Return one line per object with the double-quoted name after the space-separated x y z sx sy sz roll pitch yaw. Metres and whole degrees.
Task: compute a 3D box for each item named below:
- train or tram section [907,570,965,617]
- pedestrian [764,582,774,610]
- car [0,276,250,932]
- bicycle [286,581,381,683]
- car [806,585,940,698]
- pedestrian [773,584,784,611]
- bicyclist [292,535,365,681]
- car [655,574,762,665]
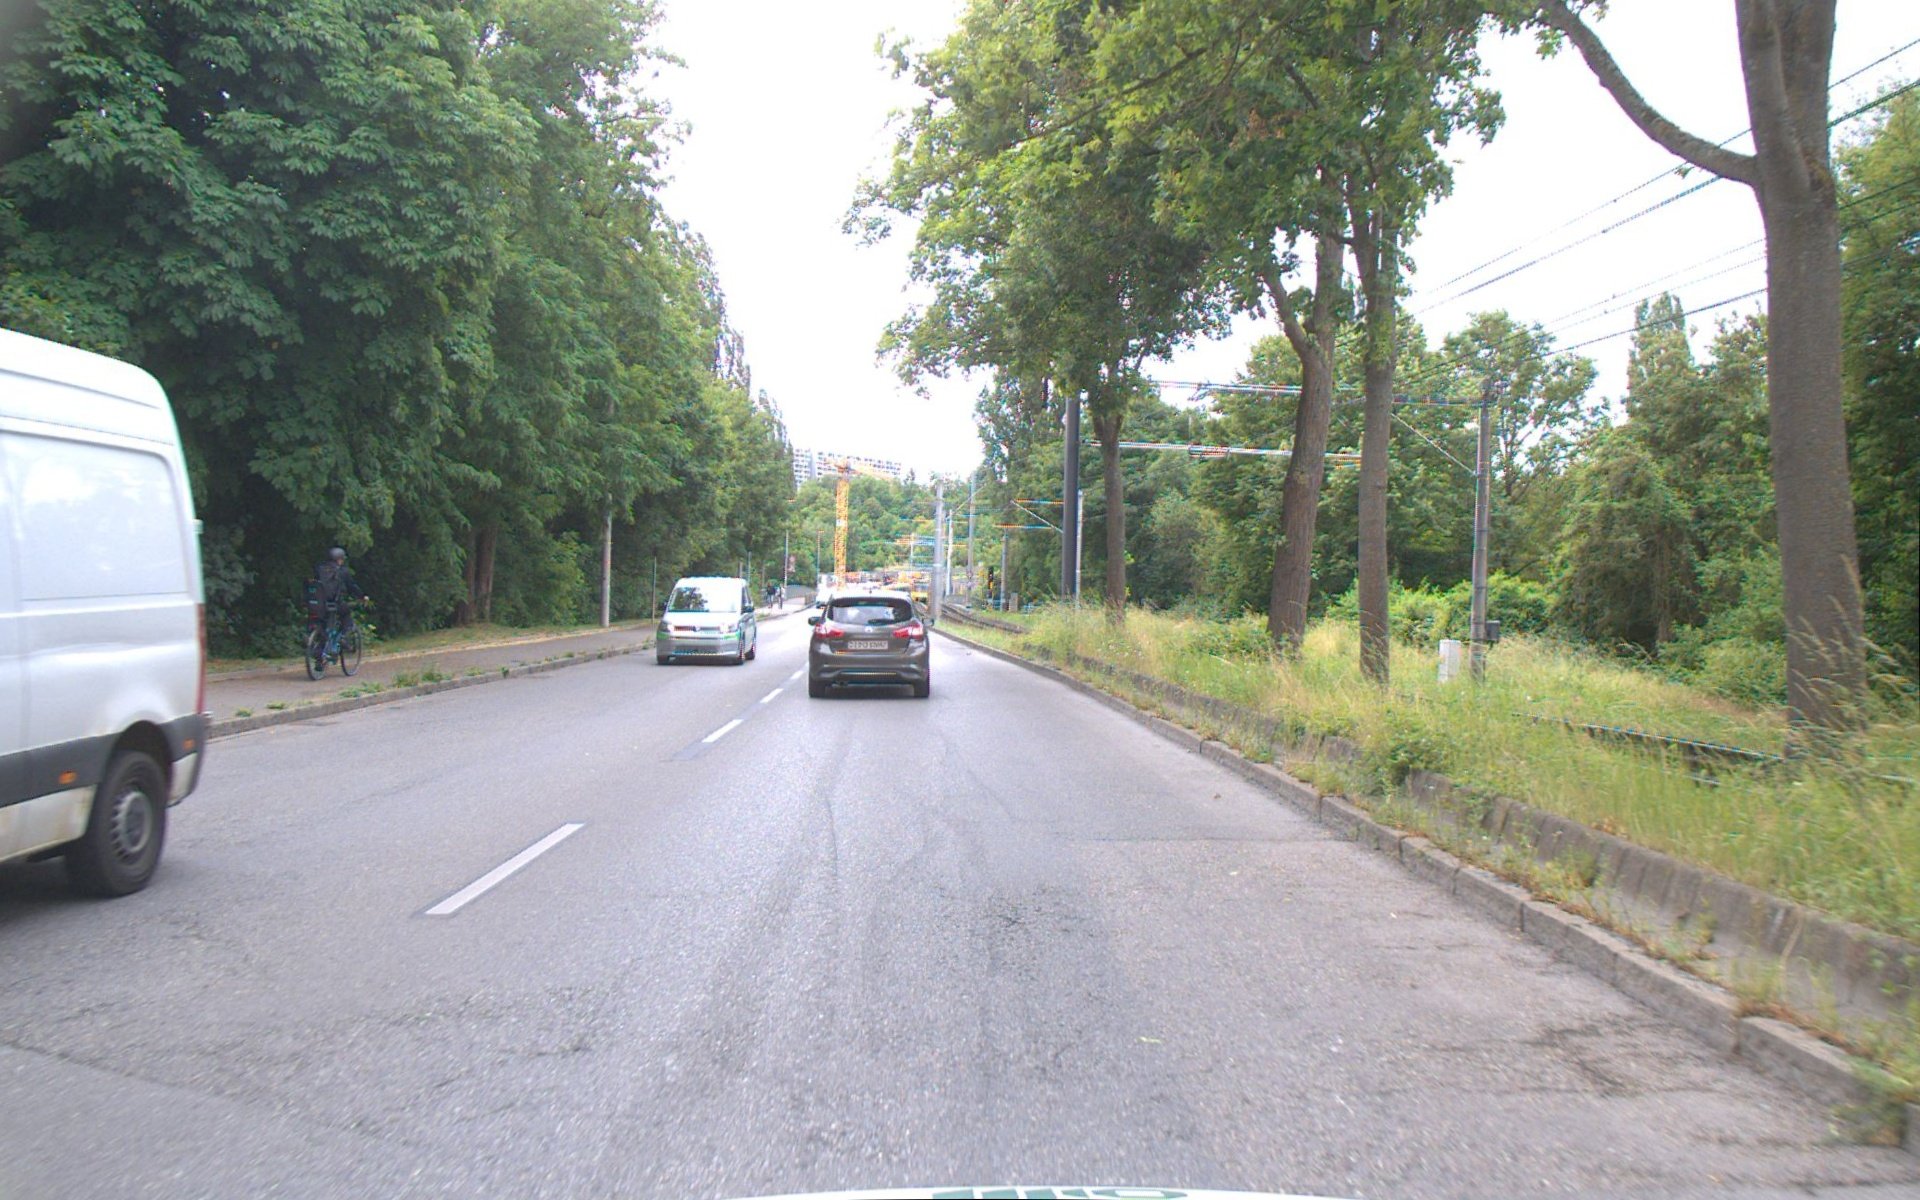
-3.371 -0.689 218.036 2.975 5.273 22.982 3 -2 -12 "train or tram section"
-13.004 -0.277 112.437 0.575 1.834 0.821 3 0 -4 "pedestrian"
-4.875 0.008 6.138 1.953 2.672 5.894 1 0 -1 "car"
-8.851 0.422 23.456 0.685 1.354 2.277 3 0 -7 "bicycle"
-1.383 0.577 24.915 1.794 1.536 3.995 1 0 -6 "car"
-12.359 -0.190 112.765 0.540 1.795 0.857 5 -1 -4 "pedestrian"
-8.804 0.111 23.089 0.673 1.982 0.834 2 -1 -7 "bicyclist"
-5.337 0.384 35.613 1.819 1.830 4.554 0 0 -3 "car"
